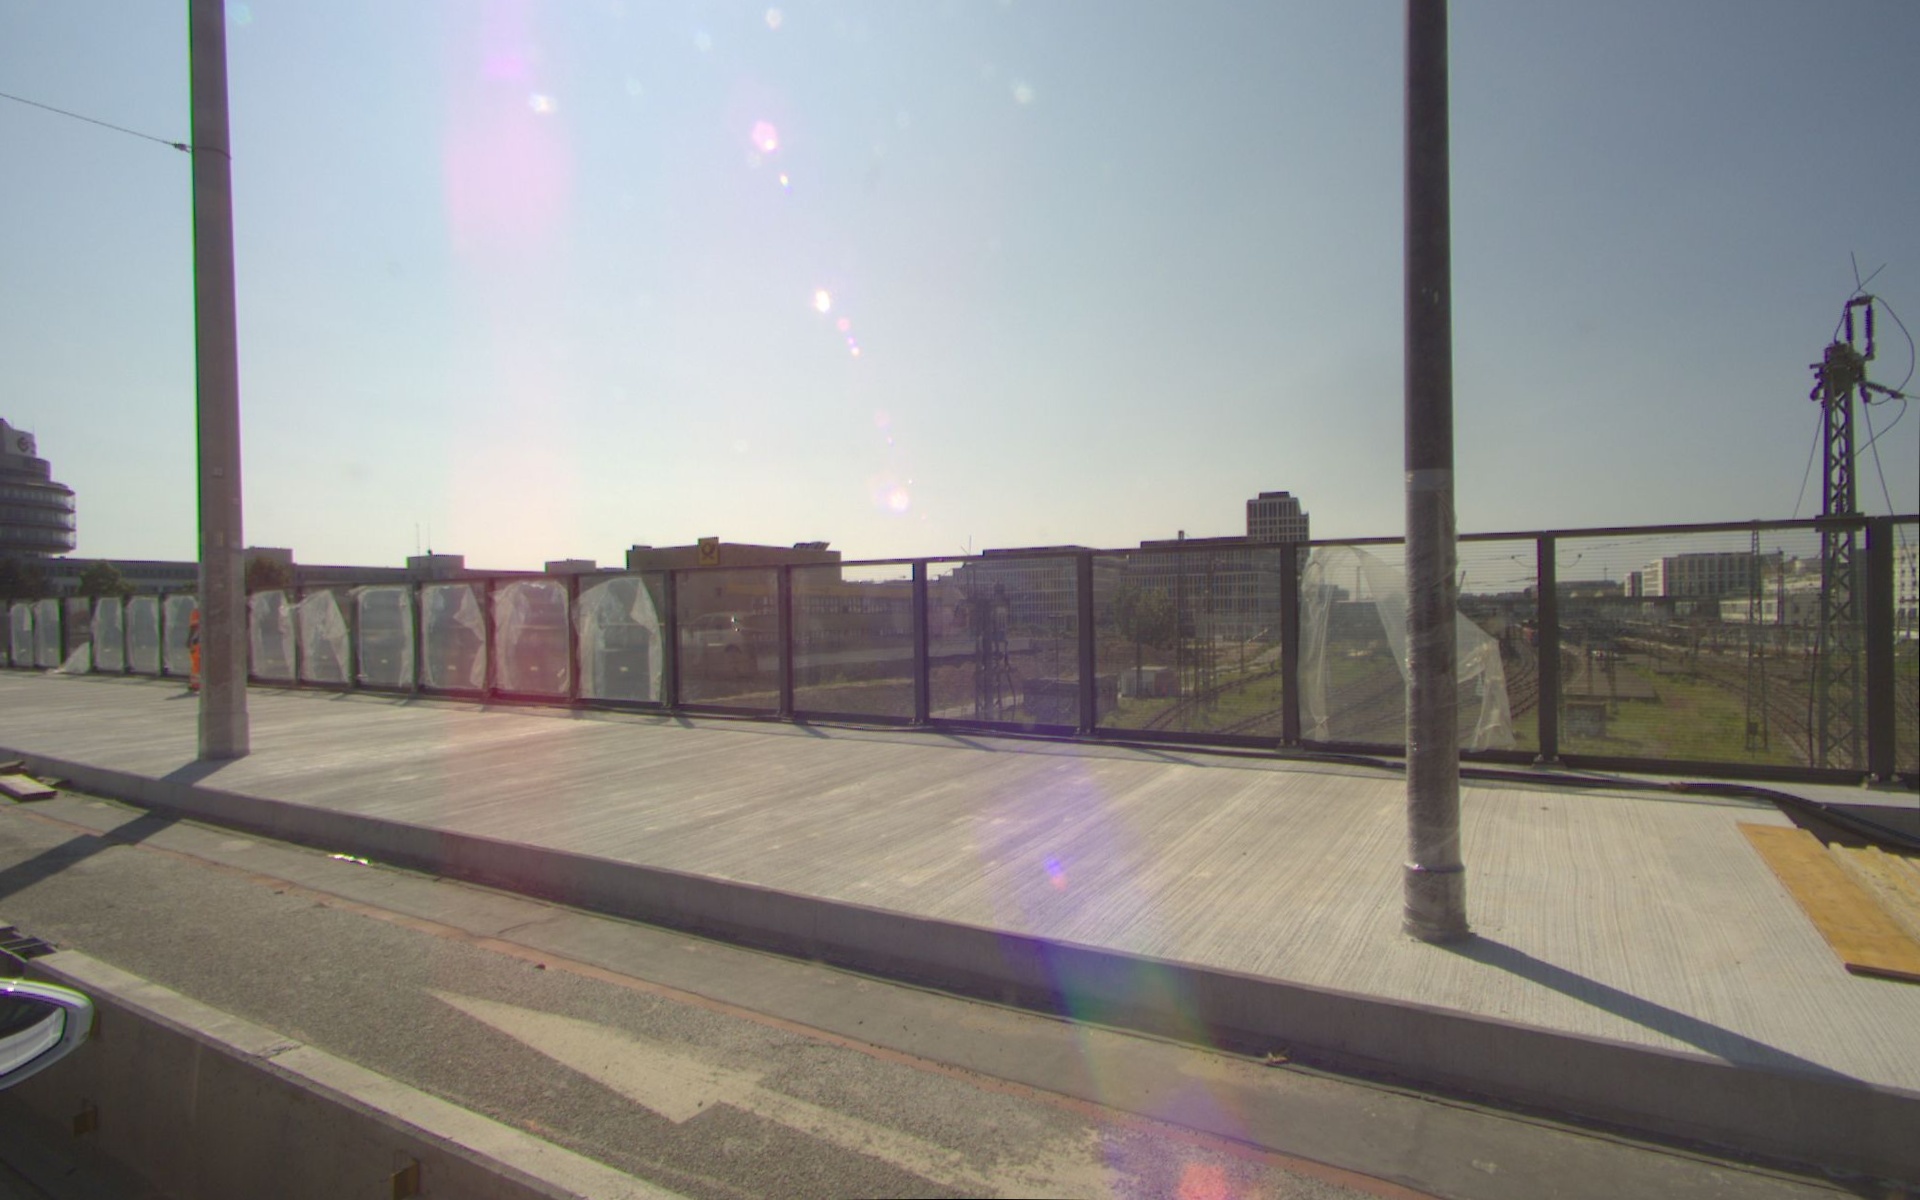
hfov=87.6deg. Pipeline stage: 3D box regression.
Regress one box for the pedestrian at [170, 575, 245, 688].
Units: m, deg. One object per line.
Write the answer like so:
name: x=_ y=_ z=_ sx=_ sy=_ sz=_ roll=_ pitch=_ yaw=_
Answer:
pedestrian: x=-13.404 y=0.549 z=17.834 sx=0.788 sy=1.961 sz=0.780 roll=-1 pitch=1 yaw=32
